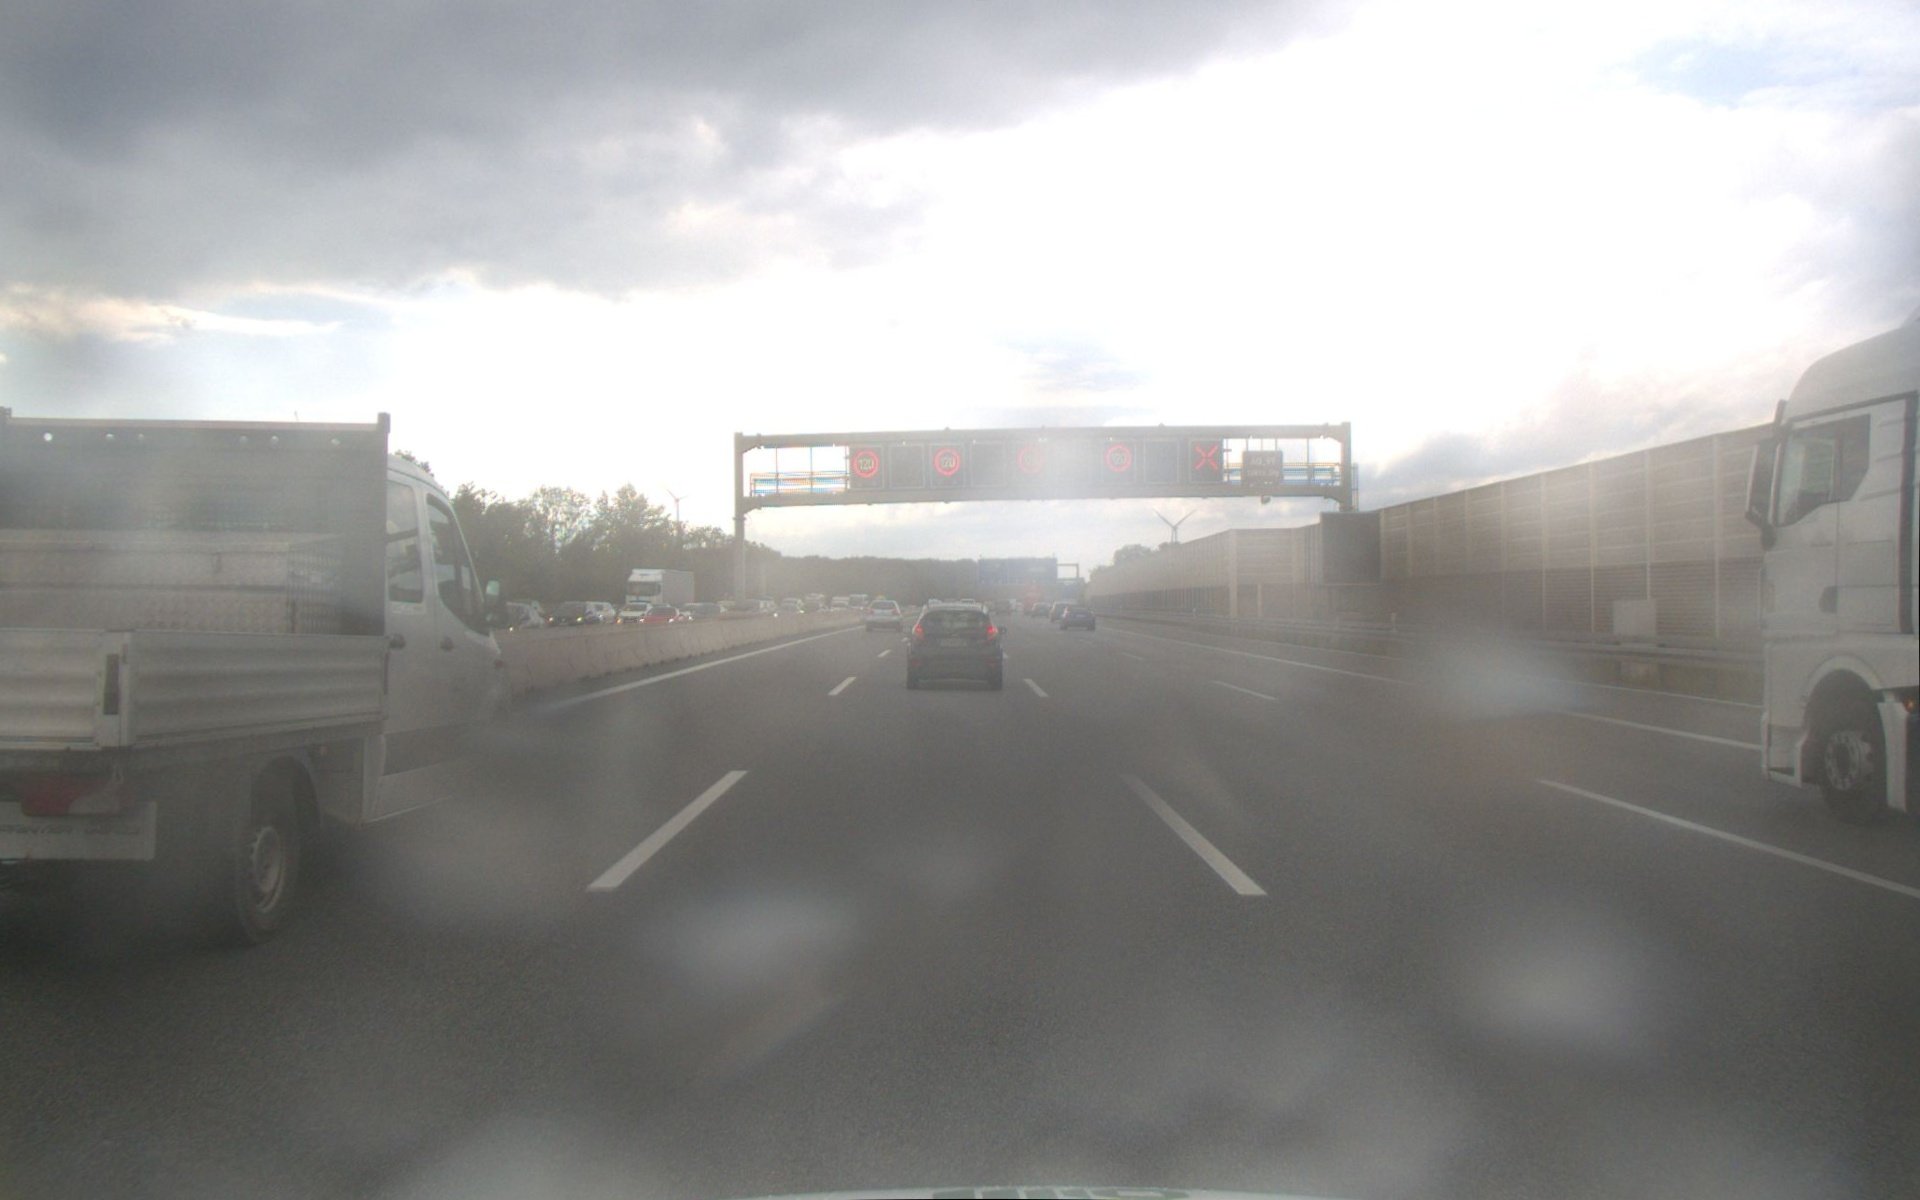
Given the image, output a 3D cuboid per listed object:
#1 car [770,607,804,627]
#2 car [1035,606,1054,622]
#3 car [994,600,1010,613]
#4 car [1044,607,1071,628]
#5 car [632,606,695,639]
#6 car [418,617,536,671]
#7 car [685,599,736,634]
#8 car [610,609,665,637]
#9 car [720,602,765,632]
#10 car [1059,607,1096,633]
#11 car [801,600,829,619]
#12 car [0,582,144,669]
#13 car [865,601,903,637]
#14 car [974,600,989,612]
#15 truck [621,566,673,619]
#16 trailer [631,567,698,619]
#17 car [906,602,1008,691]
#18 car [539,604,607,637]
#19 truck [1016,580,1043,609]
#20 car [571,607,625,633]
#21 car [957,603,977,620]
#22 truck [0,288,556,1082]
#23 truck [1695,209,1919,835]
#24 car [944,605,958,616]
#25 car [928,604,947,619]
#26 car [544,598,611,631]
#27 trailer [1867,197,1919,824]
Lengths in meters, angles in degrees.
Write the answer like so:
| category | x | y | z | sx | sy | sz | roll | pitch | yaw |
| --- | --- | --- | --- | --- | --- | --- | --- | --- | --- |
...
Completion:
| category | x | y | z | sx | sy | sz | roll | pitch | yaw |
| --- | --- | --- | --- | --- | --- | --- | --- | --- | --- |
| car | -13.566 | 1.330 | 130.123 | 2.018 | 1.561 | 5.470 | 0 | 0 | 1 |
| car | 8.718 | 1.457 | 170.767 | 1.844 | 1.588 | 4.433 | -1 | -1 | 1 |
| car | 5.288 | 0.799 | 208.669 | 1.927 | 1.588 | 4.433 | -1 | -1 | 1 |
| car | 7.614 | 1.356 | 129.344 | 1.844 | 1.569 | 4.433 | -1 | -1 | 1 |
| car | -13.992 | 1.064 | 78.384 | 2.018 | 1.517 | 4.998 | 0 | 0 | 1 |
| car | -14.375 | 1.267 | 49.540 | 2.018 | 1.517 | 4.998 | 0 | 0 | 1 |
| car | -14.005 | 0.902 | 93.087 | 2.018 | 1.913 | 4.998 | 0 | 0 | 1 |
| car | -18.036 | 1.251 | 92.617 | 2.018 | 1.517 | 4.998 | 0 | 0 | 1 |
| car | -14.143 | 1.074 | 107.886 | 2.018 | 1.913 | 6.328 | 0 | 0 | 1 |
| car | 6.594 | 1.134 | 93.169 | 1.909 | 1.443 | 4.233 | 0 | -1 | 2 |
| car | -12.895 | 0.854 | 147.336 | 2.018 | 1.674 | 5.380 | 0 | 0 | 1 |
| car | -17.744 | 0.457 | 31.333 | 2.018 | 1.517 | 4.998 | 0 | 0 | 1 |
| car | -3.671 | 0.905 | 80.542 | 1.682 | 1.652 | 4.278 | 0 | 0 | 0 |
| car | 2.944 | 0.855 | 225.484 | 1.928 | 1.588 | 4.432 | -1 | -1 | 0 |
| truck | -24.754 | -0.571 | 131.082 | 2.911 | 4.105 | 5.726 | 0 | 0 | 1 |
| trailer | -24.652 | -0.578 | 138.947 | 2.871 | 4.102 | 14.454 | 0 | 0 | 1 |
| car | -0.092 | 0.770 | 29.467 | 1.682 | 1.441 | 4.277 | 0 | 0 | -1 |
| car | -18.487 | 0.981 | 79.188 | 2.018 | 1.517 | 4.998 | 0 | 0 | 1 |
| truck | 9.146 | -0.726 | 218.893 | 3.087 | 3.664 | 12.700 | 1 | 0 | 1 |
| car | -21.343 | 1.175 | 97.696 | 2.018 | 1.517 | 4.998 | 0 | 0 | 1 |
| car | 0.682 | 1.113 | 160.177 | 1.927 | 1.588 | 4.433 | -1 | -1 | 1 |
| truck | -4.000 | 0.240 | 8.696 | 2.260 | 2.482 | 7.145 | 0 | 0 | -2 |
| truck | 7.629 | -0.507 | 11.184 | 2.689 | 4.105 | 5.724 | 0 | 0 | -1 |
| car | -1.268 | 1.580 | 240.940 | 1.927 | 1.588 | 4.433 | -1 | -1 | 1 |
| car | -2.449 | 1.262 | 179.536 | 1.927 | 1.588 | 4.433 | -1 | -1 | 1 |
| car | -18.369 | 0.706 | 79.659 | 2.018 | 1.517 | 4.998 | 0 | 0 | 1 |
| trailer | 7.777 | -0.571 | 4.255 | 2.705 | 4.102 | 14.449 | 0 | 0 | -1 |
